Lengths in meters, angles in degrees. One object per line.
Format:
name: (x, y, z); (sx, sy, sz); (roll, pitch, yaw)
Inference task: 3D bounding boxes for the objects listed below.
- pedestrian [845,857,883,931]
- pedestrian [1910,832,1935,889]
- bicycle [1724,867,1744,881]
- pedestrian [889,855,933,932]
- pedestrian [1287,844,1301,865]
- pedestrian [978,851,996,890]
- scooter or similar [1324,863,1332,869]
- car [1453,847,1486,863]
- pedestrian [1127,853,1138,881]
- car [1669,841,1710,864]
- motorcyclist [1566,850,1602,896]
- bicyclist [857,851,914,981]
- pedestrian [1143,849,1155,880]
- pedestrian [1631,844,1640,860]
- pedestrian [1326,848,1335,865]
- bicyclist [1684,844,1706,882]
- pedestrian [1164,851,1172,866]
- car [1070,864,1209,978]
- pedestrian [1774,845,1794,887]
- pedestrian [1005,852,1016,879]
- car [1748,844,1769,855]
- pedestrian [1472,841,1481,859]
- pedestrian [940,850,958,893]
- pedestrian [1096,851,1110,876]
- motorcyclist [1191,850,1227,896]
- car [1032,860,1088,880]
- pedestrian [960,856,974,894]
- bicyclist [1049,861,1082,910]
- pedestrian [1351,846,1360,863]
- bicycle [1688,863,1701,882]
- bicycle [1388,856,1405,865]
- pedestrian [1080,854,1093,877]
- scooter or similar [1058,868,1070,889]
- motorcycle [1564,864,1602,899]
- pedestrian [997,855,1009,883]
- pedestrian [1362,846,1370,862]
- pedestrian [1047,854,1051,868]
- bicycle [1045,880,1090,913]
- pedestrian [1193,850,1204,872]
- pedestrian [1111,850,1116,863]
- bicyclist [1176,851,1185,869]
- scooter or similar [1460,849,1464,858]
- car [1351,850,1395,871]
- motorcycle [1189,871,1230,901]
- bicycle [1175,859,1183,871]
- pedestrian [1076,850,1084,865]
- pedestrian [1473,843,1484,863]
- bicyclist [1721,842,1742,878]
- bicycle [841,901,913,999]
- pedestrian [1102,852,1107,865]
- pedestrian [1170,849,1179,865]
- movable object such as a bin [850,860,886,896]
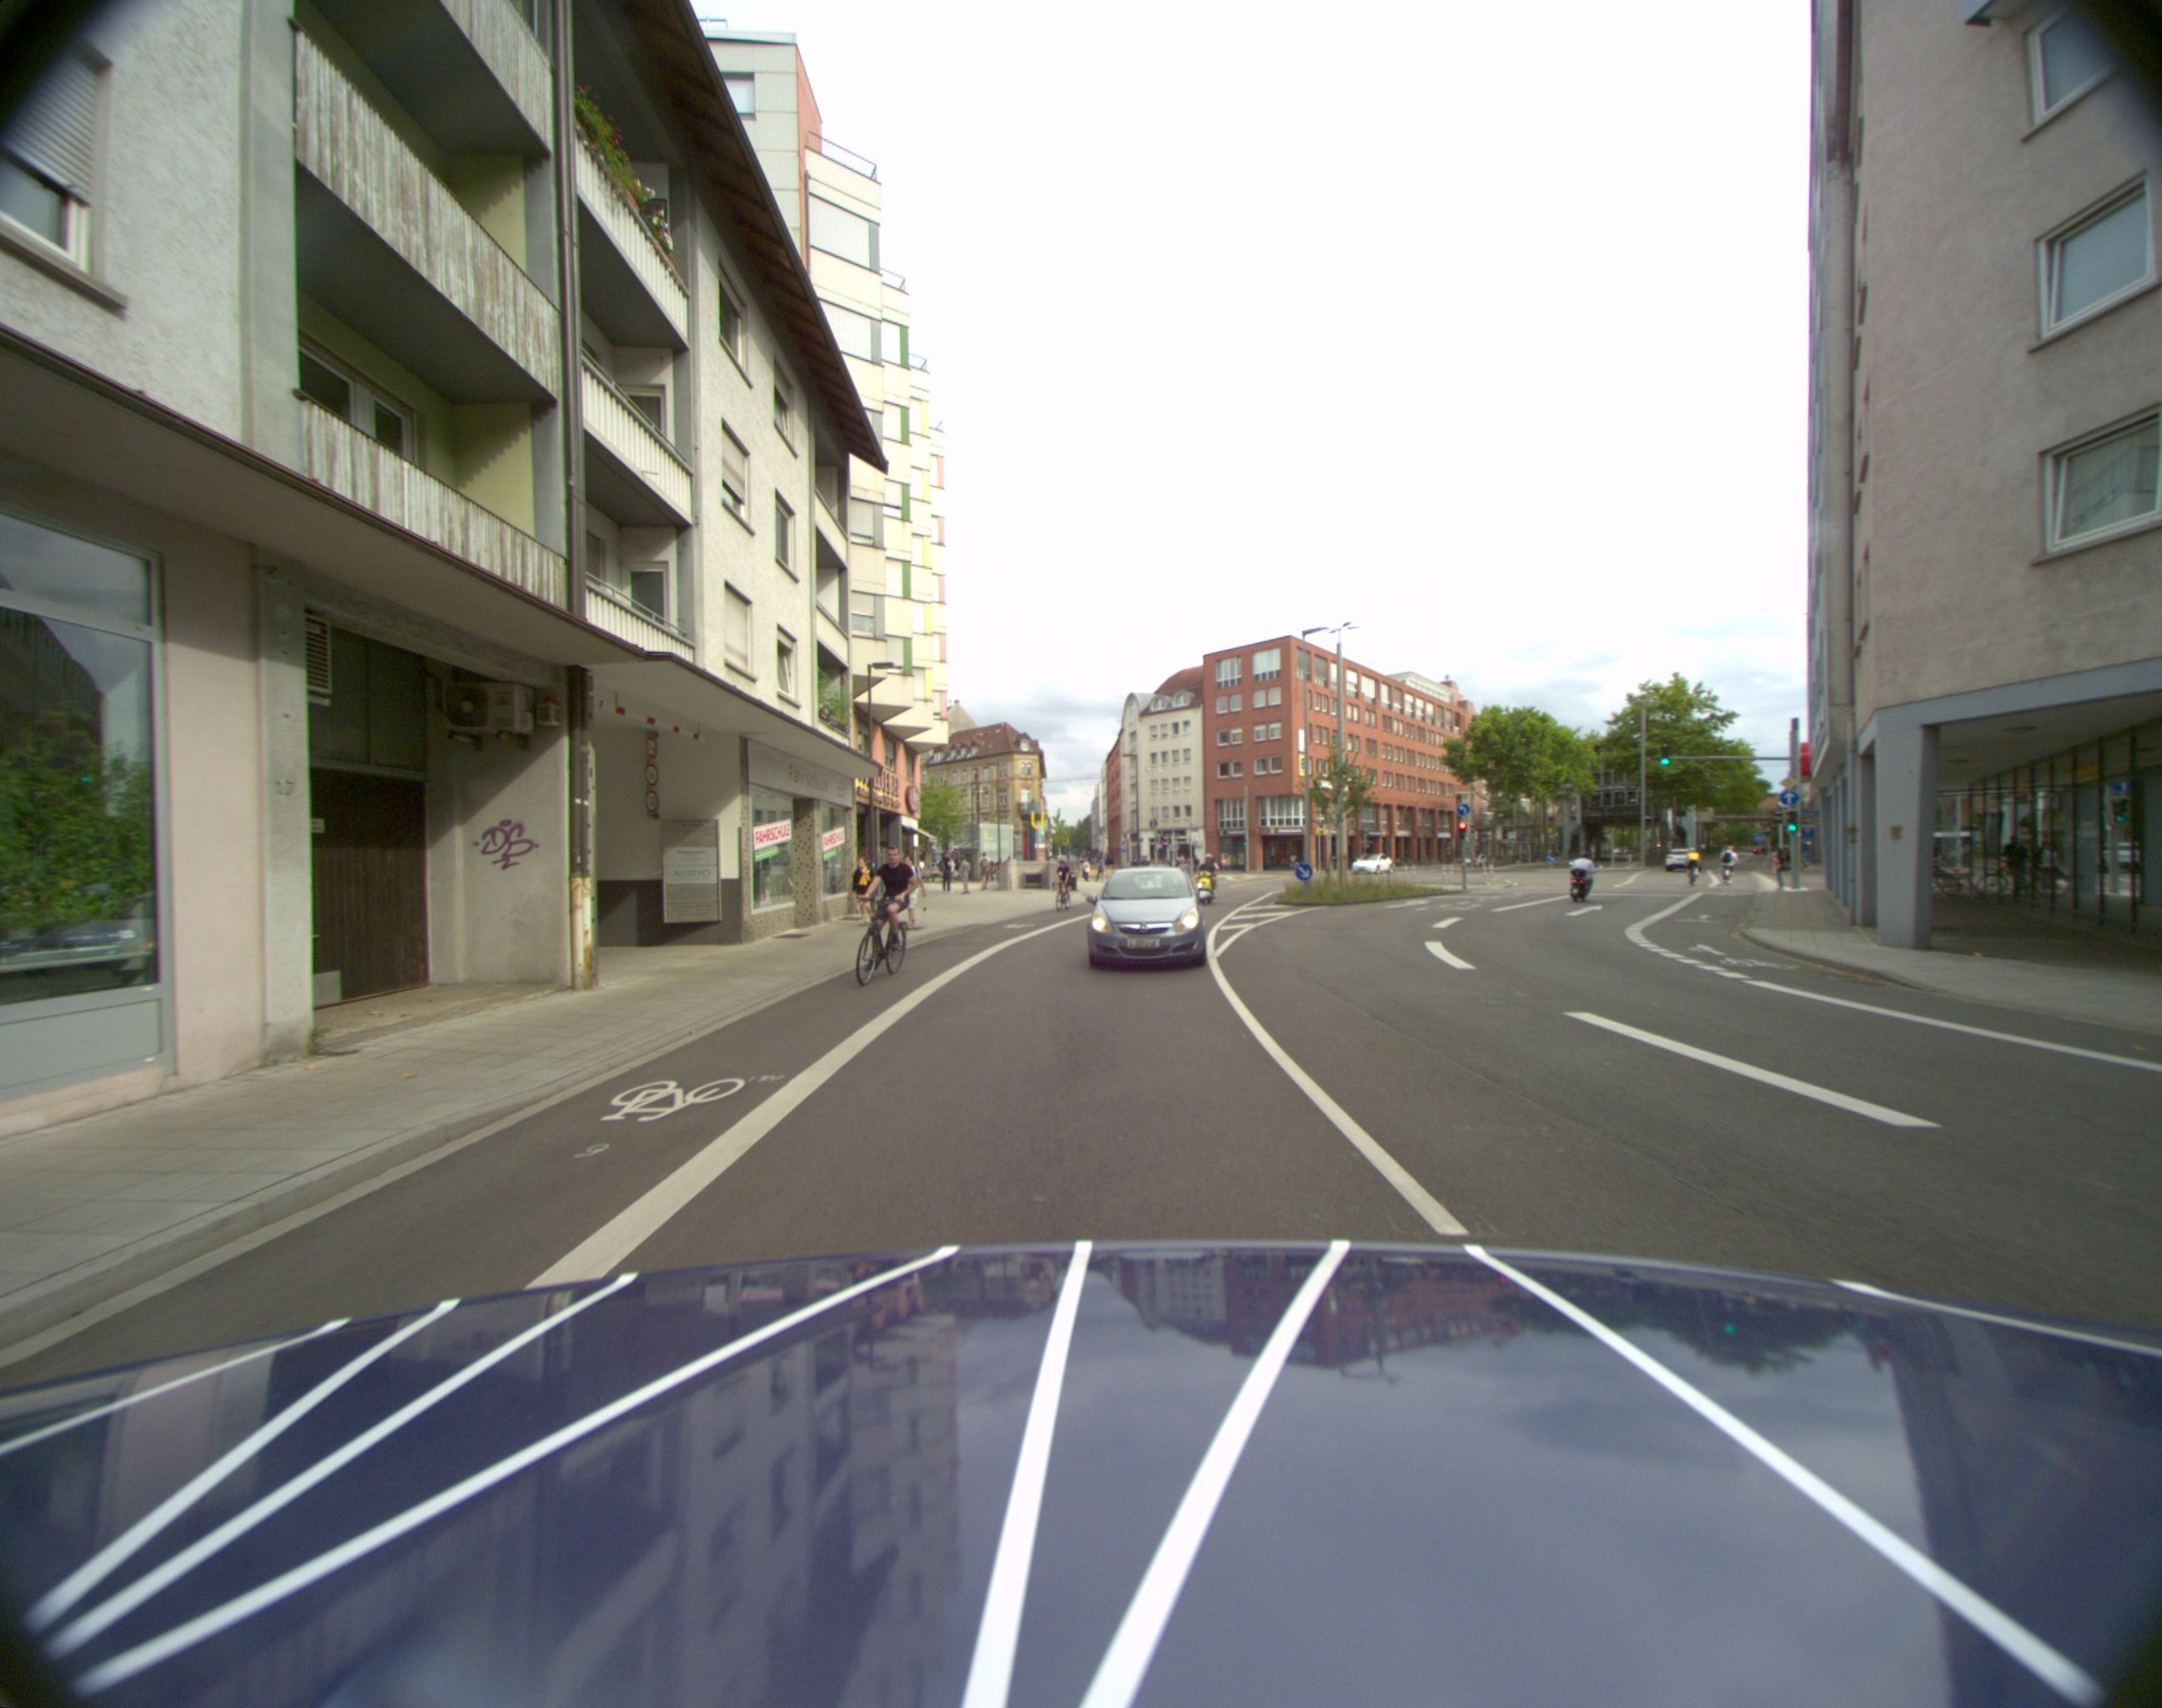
pedestrian: (-5.113, 0.921, 17.955); (0.606, 1.659, 0.943); (2, 1, -3)
pedestrian: (26.258, 0.214, 23.716); (0.476, 1.755, 0.590); (0, 0, 43)
bicycle: (29.760, 0.922, 34.611); (2.002, 0.585, 0.484); (-1, 0, -44)
pedestrian: (-3.991, 0.910, 17.916); (0.753, 1.740, 0.859); (2, 0, 1)
pedestrian: (21.305, 0.060, 76.013); (0.998, 2.001, 1.045); (-3, -1, 2)
pedestrian: (-4.603, 0.798, 37.257); (0.658, 1.841, 0.971); (2, 1, 2)
scooter or similar: (23.487, 1.112, 72.348); (0.507, 0.570, 0.817); (-1, 0, 36)
car: (40.611, 0.088, 79.365); (1.953, 1.592, 4.008); (-1, 0, 44)
pedestrian: (3.392, 0.855, 49.951); (0.675, 1.789, 0.887); (2, 0, 4)
car: (44.503, -0.117, 55.556); (4.333, 1.650, 1.833); (-1, 0, -45)
motorcyclist: (16.455, 0.608, 24.854); (0.796, 1.452, 0.867); (2, 2, 43)
bicyclist: (-2.661, 0.817, 10.391); (0.560, 1.699, 0.862); (-1, 0, -3)
pedestrian: (4.471, 0.701, 49.774); (0.720, 1.959, 1.014); (2, 0, 7)
pedestrian: (53.177, -0.190, 72.816); (0.657, 1.529, 0.559); (-1, 3, 39)
pedestrian: (23.965, 0.245, 72.998); (0.639, 1.677, 0.601); (0, 0, 43)
bicyclist: (27.483, 0.396, 33.999); (0.712, 1.640, 0.973); (0, 1, 42)
pedestrian: (9.015, 0.443, 78.803); (0.593, 1.502, 0.629); (-1, 0, -9)
car: (1.105, 0.935, 12.158); (1.722, 1.394, 4.003); (-3, 0, 11)
pedestrian: (26.636, 0.452, 28.802); (0.499, 1.550, 0.519); (0, 1, 36)
pedestrian: (-4.866, 0.808, 52.787); (0.489, 1.856, 0.586); (0, -1, 39)
car: (122.883, -0.750, 137.922); (2.503, 1.936, 5.103); (-1, 0, 38)
pedestrian: (38.106, -0.372, 73.140); (0.578, 1.781, 0.534); (-1, 1, -27)
pedestrian: (-5.919, 0.768, 34.096); (0.674, 1.892, 0.590); (2, 0, -1)
pedestrian: (1.670, 0.712, 57.095); (0.639, 1.843, 0.879); (0, 0, 43)
motorcyclist: (4.384, 0.636, 26.013); (0.870, 1.508, 1.046); (-1, 0, 33)
car: (-1.813, 1.312, 64.032); (4.590, 1.503, 2.004); (0, 2, 44)
pedestrian: (-5.086, 0.927, 33.955); (0.473, 1.663, 0.590); (2, 0, -1)
bicyclist: (-0.523, 1.042, 25.565); (0.612, 1.594, 0.849); (-3, -1, 39)
pedestrian: (28.637, 0.045, 79.279); (0.645, 1.686, 0.699); (1, 2, 41)
bicycle: (27.609, 0.814, 34.203); (0.409, 0.790, 2.002); (0, 0, 40)
bicycle: (37.743, 0.766, 90.821); (1.855, 1.034, 0.509); (-1, 0, 44)
pedestrian: (0.421, 0.868, 55.993); (0.633, 1.685, 0.708); (0, 0, 43)
scooter or similar: (-1.026, 1.488, 46.101); (0.286, 1.205, 1.127); (-1, 1, 20)
motorcycle: (16.431, 0.878, 24.843); (0.721, 1.088, 2.040); (2, 1, 42)
pedestrian: (-5.359, 1.022, 52.130); (0.547, 1.856, 0.586); (0, -1, 39)
pedestrian: (30.385, 0.011, 80.977); (0.733, 1.623, 0.406); (-1, 2, -39)
pedestrian: (-3.939, 0.871, 93.148); (0.425, 1.675, 0.514); (-1, 0, -14)
bicycle: (-0.437, 1.415, 25.639); (0.488, 0.994, 1.751); (-2, 0, 39)
pedestrian: (9.833, 0.579, 63.468); (0.567, 1.813, 0.697); (0, 0, 43)
pedestrian: (4.251, 0.283, 99.384); (0.541, 1.712, 0.520); (-1, 1, -6)
bicyclist: (8.301, 0.496, 63.352); (0.745, 1.549, 0.946); (-1, 0, 5)
scooter or similar: (53.804, -0.137, 107.374); (0.272, 1.250, 0.923); (0, 1, 44)
car: (23.628, 0.527, 61.451); (1.953, 1.592, 4.008); (-1, 0, 44)
motorcycle: (4.435, 1.082, 26.144); (0.569, 0.962, 2.018); (-1, 0, 34)
bicycle: (8.193, 0.900, 63.443); (0.542, 0.945, 1.808); (-1, 0, 4)
pedestrian: (-0.137, 0.379, 86.896); (0.606, 1.675, 0.732); (-5, 2, -23)
pedestrian: (37.271, -0.136, 71.277); (0.692, 1.864, 0.808); (0, 1, 44)
bicyclist: (29.657, 0.270, 34.638); (1.039, 1.636, 0.608); (-1, 1, -44)
bicycle: (-2.749, 1.247, 10.415); (0.407, 1.115, 2.017); (-2, -1, 0)
pedestrian: (3.042, 0.573, 99.414); (0.591, 1.712, 0.519); (-1, 1, -7)
pedestrian: (9.687, 0.303, 78.951); (0.707, 1.638, 0.721); (-1, 0, -9)
movable object such as a bin: (-8.722, 0.970, 31.107); (1.148, 1.452, 1.223); (-1, 0, -3)
